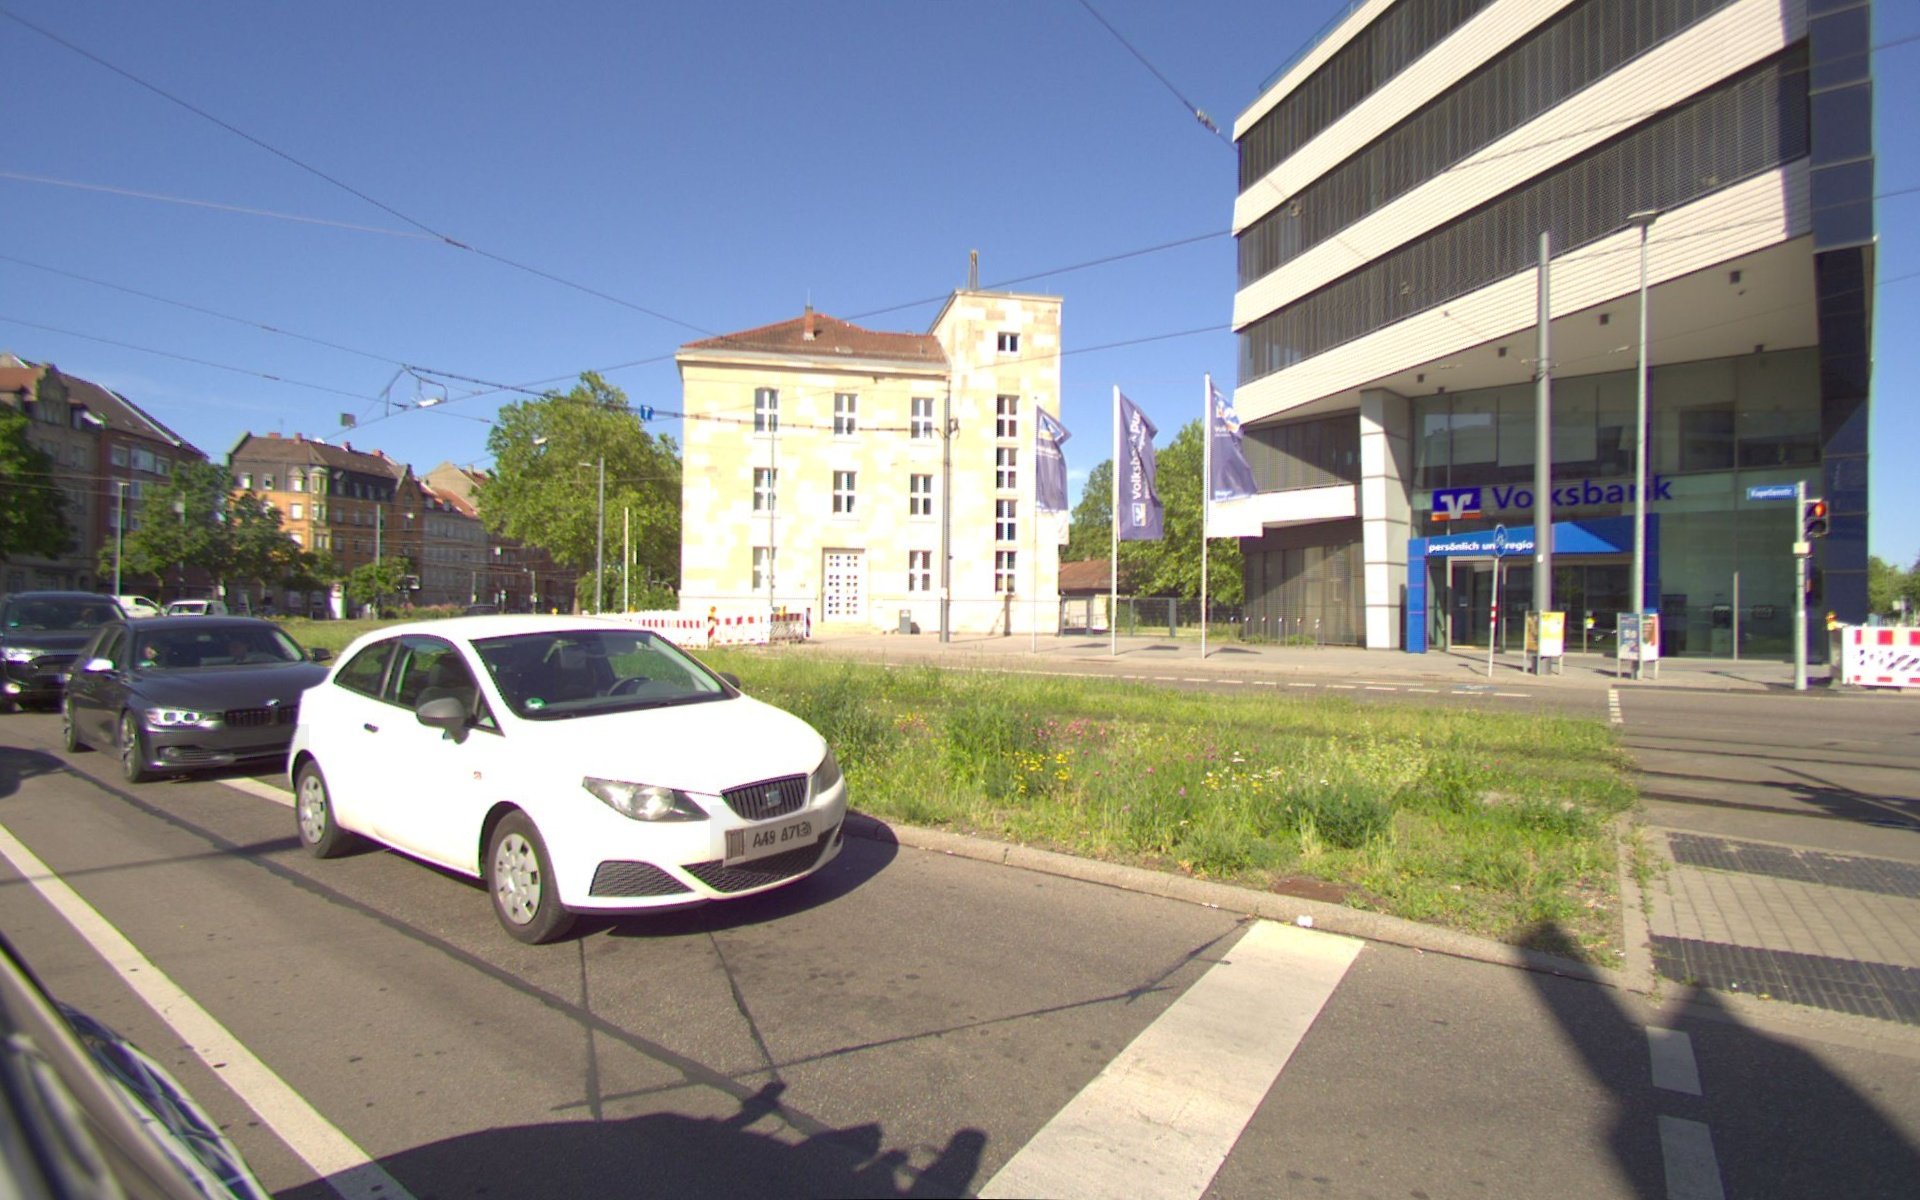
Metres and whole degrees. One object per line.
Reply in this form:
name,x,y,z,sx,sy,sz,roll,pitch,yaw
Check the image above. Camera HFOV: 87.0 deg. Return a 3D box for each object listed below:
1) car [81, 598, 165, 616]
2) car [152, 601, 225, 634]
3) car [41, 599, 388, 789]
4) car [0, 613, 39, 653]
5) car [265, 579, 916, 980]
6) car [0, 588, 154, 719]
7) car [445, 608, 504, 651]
car,-59.413,0.540,71.894,1.999,1.219,4.340,0,-1,41
car,-38.006,0.866,49.939,1.842,1.568,4.013,1,-1,-22
car,-7.430,0.726,9.904,4.481,1.441,1.816,0,0,41
car,-37.133,1.236,38.706,1.842,1.458,3.921,1,-1,-27
car,-2.221,0.657,5.580,3.832,1.441,1.648,0,2,40
car,-13.565,0.704,15.161,4.328,1.697,1.744,0,0,43
car,-21.302,1.254,44.346,1.741,1.763,4.011,1,-1,-34
